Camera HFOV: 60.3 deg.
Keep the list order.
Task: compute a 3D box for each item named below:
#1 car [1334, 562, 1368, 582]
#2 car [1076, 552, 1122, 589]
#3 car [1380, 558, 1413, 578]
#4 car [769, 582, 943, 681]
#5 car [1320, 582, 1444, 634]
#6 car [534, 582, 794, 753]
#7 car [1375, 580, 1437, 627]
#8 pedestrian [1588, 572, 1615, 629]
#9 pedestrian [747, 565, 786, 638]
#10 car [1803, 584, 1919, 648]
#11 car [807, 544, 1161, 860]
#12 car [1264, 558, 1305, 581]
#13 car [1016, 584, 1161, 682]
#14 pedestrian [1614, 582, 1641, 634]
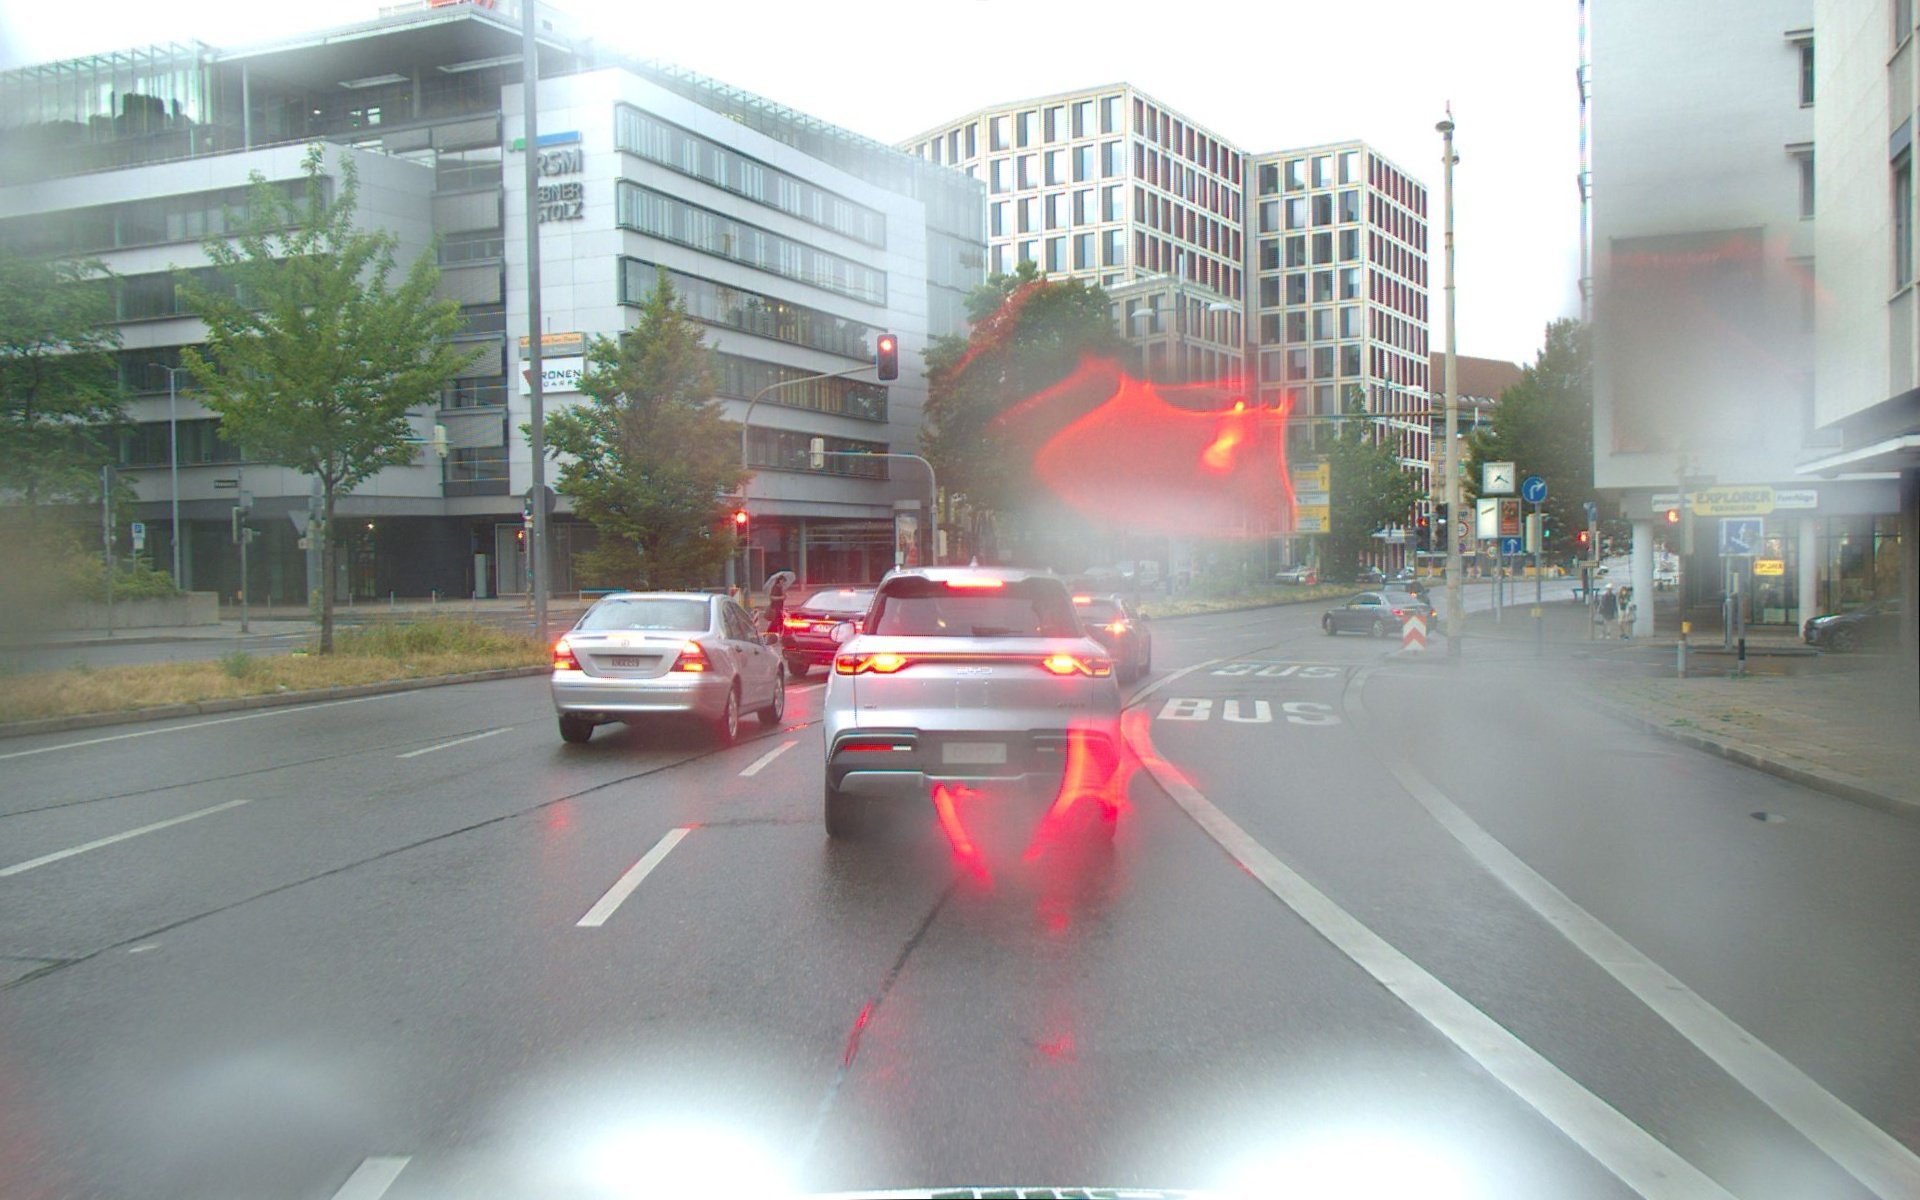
[{"bbox_3d":[35.476,-2.574,150.058,1.956,1.735,4.302,1,3,29],"label":"car"},{"bbox_3d":[8.690,-1.829,103.199,1.701,2.199,4.494,1,1,20],"label":"car"},{"bbox_3d":[39.226,-2.901,148.691,1.956,1.735,3.994,1,3,29],"label":"car"},{"bbox_3d":[-1.697,0.478,28.474,1.913,1.556,4.003,0,1,13],"label":"car"},{"bbox_3d":[13.429,0.224,52.886,1.879,1.536,4.338,1,1,-16],"label":"car"},{"bbox_3d":[-2.856,0.583,16.855,1.647,1.512,4.199,0,1,4],"label":"car"},{"bbox_3d":[18.202,0.095,67.384,2.005,1.796,4.357,1,1,21],"label":"car"},{"bbox_3d":[19.289,0.027,49.702,0.712,1.698,0.691,0,0,18],"label":"pedestrian"},{"bbox_3d":[-4.775,0.028,40.852,0.903,1.768,0.729,0,0,-3],"label":"pedestrian"},{"bbox_3d":[24.499,0.418,43.498,3.905,1.579,2.000,1,1,21],"label":"car"},{"bbox_3d":[0.098,0.532,11.412,1.953,1.739,4.482,0,1,-1],"label":"car"},{"bbox_3d":[25.849,-2.455,131.652,1.956,1.735,4.302,1,3,29],"label":"car"},{"bbox_3d":[2.313,0.512,28.812,1.913,1.556,4.003,0,1,13],"label":"car"},{"bbox_3d":[19.937,0.239,49.404,0.712,1.551,0.760,0,0,18],"label":"pedestrian"}]
